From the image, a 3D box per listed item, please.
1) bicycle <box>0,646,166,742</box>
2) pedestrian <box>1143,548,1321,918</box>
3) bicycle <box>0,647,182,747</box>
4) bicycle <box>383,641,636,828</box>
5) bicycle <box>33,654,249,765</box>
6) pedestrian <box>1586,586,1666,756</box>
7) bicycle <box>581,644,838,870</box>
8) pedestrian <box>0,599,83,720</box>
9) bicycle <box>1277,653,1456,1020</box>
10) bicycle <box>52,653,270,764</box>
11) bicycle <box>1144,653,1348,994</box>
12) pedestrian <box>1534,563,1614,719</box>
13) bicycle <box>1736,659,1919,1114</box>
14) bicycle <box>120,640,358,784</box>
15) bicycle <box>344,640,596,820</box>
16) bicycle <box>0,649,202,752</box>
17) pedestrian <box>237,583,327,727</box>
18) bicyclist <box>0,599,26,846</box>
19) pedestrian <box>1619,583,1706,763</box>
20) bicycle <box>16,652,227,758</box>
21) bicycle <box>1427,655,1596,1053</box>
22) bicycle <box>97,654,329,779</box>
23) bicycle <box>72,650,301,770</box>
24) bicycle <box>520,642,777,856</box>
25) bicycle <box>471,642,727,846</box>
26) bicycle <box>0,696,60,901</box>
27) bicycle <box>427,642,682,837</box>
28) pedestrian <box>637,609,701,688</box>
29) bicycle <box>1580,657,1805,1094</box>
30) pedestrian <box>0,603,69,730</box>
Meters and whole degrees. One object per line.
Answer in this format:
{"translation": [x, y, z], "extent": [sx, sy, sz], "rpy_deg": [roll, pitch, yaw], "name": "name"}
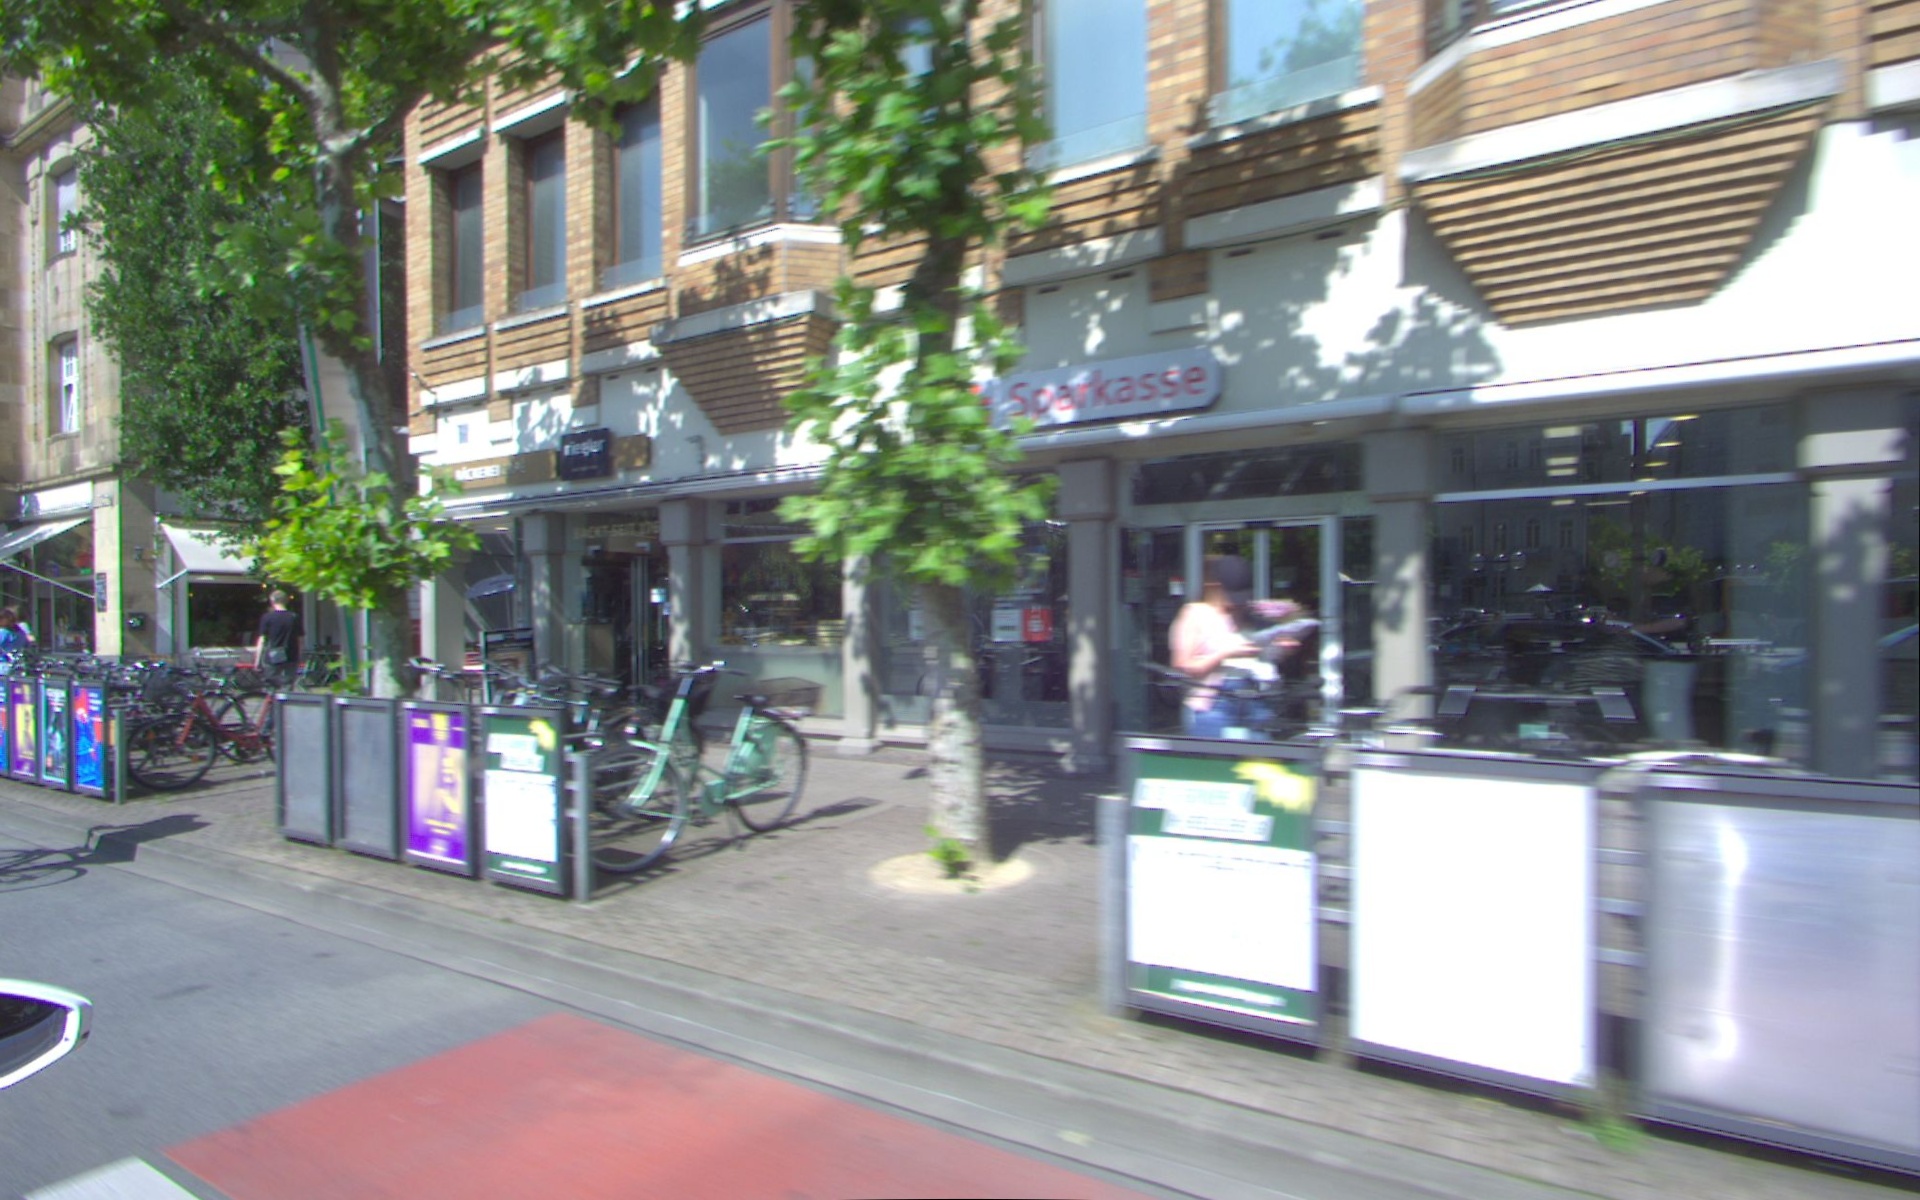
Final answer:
{"translation": [-10.591, 1.087, 11.911], "extent": [0.475, 1.031, 1.750], "rpy_deg": [0, -1, 30], "name": "bicycle"}
{"translation": [1.357, 0.611, 4.948], "extent": [0.719, 1.654, 0.652], "rpy_deg": [0, -2, 28], "name": "pedestrian"}
{"translation": [-10.167, 1.087, 11.622], "extent": [0.475, 1.031, 1.750], "rpy_deg": [0, -1, 30], "name": "bicycle"}
{"translation": [-3.207, 0.900, 7.310], "extent": [0.475, 1.162, 1.750], "rpy_deg": [0, -1, 30], "name": "bicycle"}
{"translation": [-8.735, 1.127, 10.767], "extent": [0.475, 1.031, 1.750], "rpy_deg": [0, -1, 30], "name": "bicycle"}
{"translation": [5.699, 0.600, 8.592], "extent": [0.517, 1.405, 0.413], "rpy_deg": [0, -2, 27], "name": "pedestrian"}
{"translation": [-1.478, 0.878, 6.236], "extent": [0.475, 1.162, 1.750], "rpy_deg": [0, -1, 30], "name": "bicycle"}
{"translation": [-12.945, 0.822, 14.098], "extent": [0.633, 1.648, 0.599], "rpy_deg": [0, 3, 20], "name": "pedestrian"}
{"translation": [1.773, 0.838, 4.229], "extent": [0.475, 1.162, 1.750], "rpy_deg": [0, -1, 30], "name": "bicycle"}
{"translation": [-8.208, 1.073, 10.371], "extent": [0.475, 0.998, 1.715], "rpy_deg": [0, -1, 30], "name": "bicycle"}
{"translation": [1.340, 0.847, 4.470], "extent": [0.475, 1.162, 1.750], "rpy_deg": [0, -1, 30], "name": "bicycle"}
{"translation": [6.069, 0.405, 9.892], "extent": [0.636, 1.474, 0.596], "rpy_deg": [0, -2, 36], "name": "pedestrian"}
{"translation": [3.101, 0.818, 3.413], "extent": [0.475, 1.162, 1.750], "rpy_deg": [0, -1, 30], "name": "bicycle"}
{"translation": [-6.558, 0.965, 9.212], "extent": [0.475, 1.162, 1.750], "rpy_deg": [0, -1, 30], "name": "bicycle"}
{"translation": [-3.623, 0.906, 7.570], "extent": [0.475, 1.162, 1.750], "rpy_deg": [0, -1, 30], "name": "bicycle"}
{"translation": [-9.732, 1.097, 11.380], "extent": [0.475, 1.031, 1.750], "rpy_deg": [0, -1, 30], "name": "bicycle"}
{"translation": [-8.913, 0.700, 13.163], "extent": [0.972, 1.805, 0.665], "rpy_deg": [0, 0, 36], "name": "pedestrian"}
{"translation": [-6.366, 0.731, 6.088], "extent": [1.126, 1.481, 0.687], "rpy_deg": [0, -2, 31], "name": "bicyclist"}
{"translation": [5.696, 0.580, 8.134], "extent": [0.517, 1.405, 0.413], "rpy_deg": [0, -2, 27], "name": "pedestrian"}
{"translation": [-9.242, 1.118, 11.114], "extent": [0.475, 1.031, 1.750], "rpy_deg": [0, -1, 30], "name": "bicycle"}
{"translation": [2.191, 0.833, 3.973], "extent": [0.475, 1.162, 1.750], "rpy_deg": [0, -1, 30], "name": "bicycle"}
{"translation": [-7.109, 1.066, 9.625], "extent": [0.475, 1.031, 1.750], "rpy_deg": [0, -1, 30], "name": "bicycle"}
{"translation": [-7.571, 1.037, 9.896], "extent": [0.476, 1.031, 1.750], "rpy_deg": [-1, -1, 30], "name": "bicycle"}
{"translation": [-1.950, 0.880, 6.530], "extent": [0.475, 1.162, 1.750], "rpy_deg": [0, -1, 30], "name": "bicycle"}
{"translation": [-2.370, 0.890, 6.798], "extent": [0.475, 1.162, 1.750], "rpy_deg": [0, -1, 30], "name": "bicycle"}
{"translation": [-6.365, 1.147, 6.077], "extent": [2.099, 1.106, 0.733], "rpy_deg": [-1, -2, 31], "name": "bicycle"}
{"translation": [-2.777, 0.895, 7.055], "extent": [0.475, 1.162, 1.750], "rpy_deg": [0, -1, 30], "name": "bicycle"}
{"translation": [-4.847, 0.809, 16.672], "extent": [0.632, 1.271, 0.789], "rpy_deg": [0, -2, 36], "name": "pedestrian"}
{"translation": [2.609, 0.827, 3.702], "extent": [0.475, 1.162, 1.750], "rpy_deg": [0, -1, 30], "name": "bicycle"}
{"translation": [-12.692, 0.879, 13.512], "extent": [0.689, 1.648, 0.696], "rpy_deg": [-1, 1, 16], "name": "pedestrian"}
